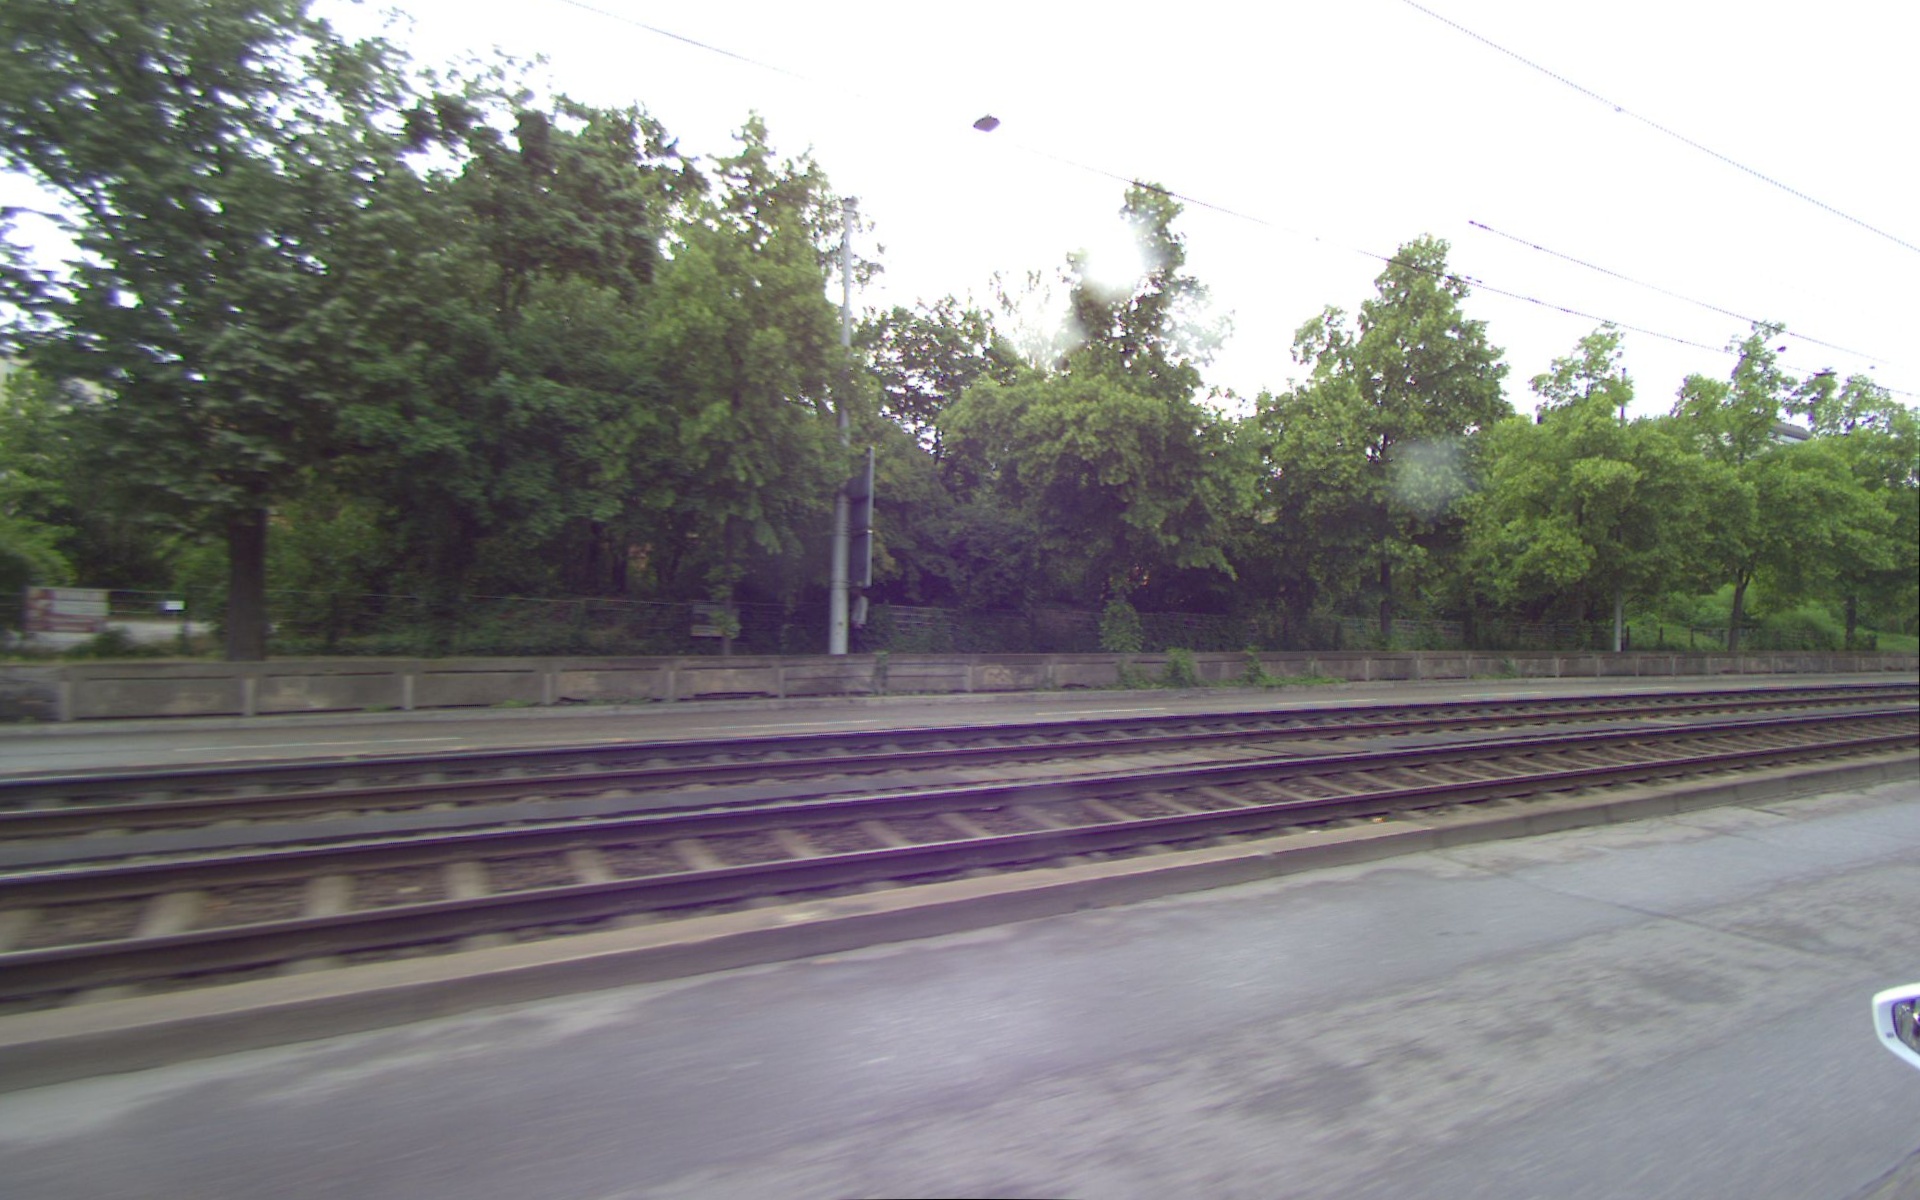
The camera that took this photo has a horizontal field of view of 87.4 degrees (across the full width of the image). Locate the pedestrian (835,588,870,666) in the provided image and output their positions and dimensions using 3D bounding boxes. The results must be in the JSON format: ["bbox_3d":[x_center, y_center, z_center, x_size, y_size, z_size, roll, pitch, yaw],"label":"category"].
[{"bbox_3d":[-2.710,0.666,25.280,0.646,1.928,0.593,1,0,-30],"label":"pedestrian"}]

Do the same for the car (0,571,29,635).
[{"bbox_3d":[-31.104,0.054,30.280,3.929,1.933,1.996,1,0,-11],"label":"car"}]
